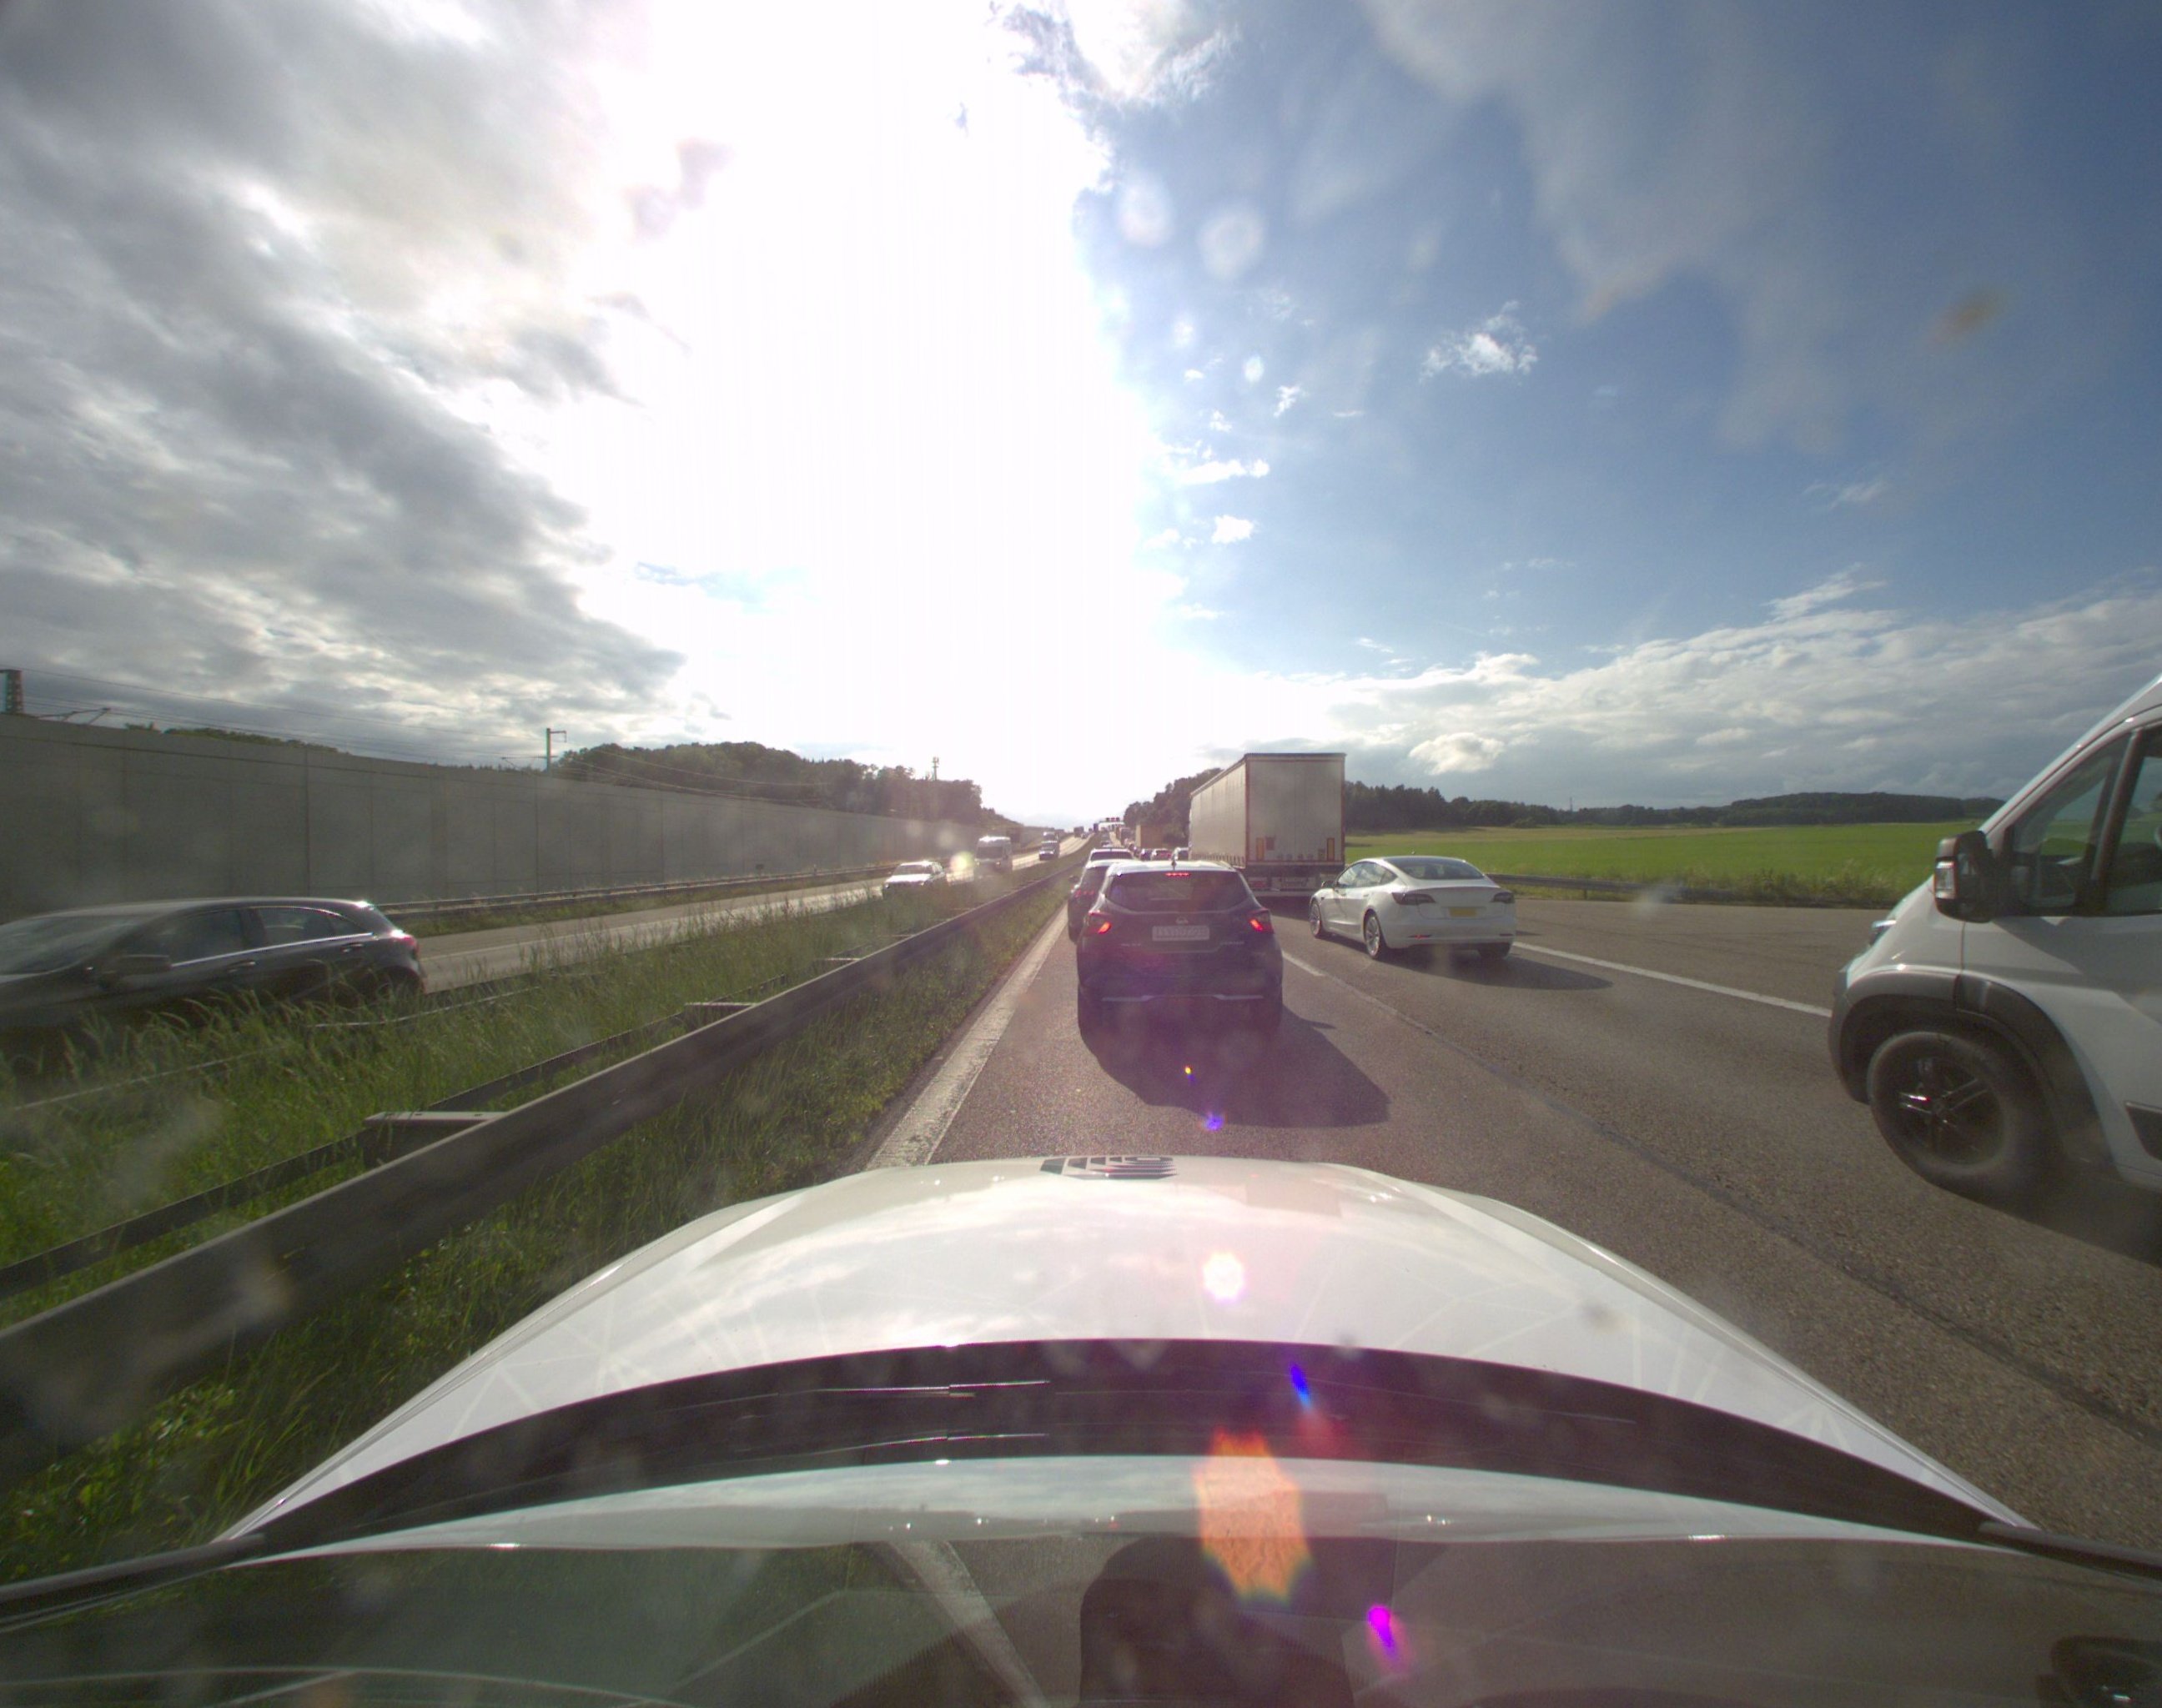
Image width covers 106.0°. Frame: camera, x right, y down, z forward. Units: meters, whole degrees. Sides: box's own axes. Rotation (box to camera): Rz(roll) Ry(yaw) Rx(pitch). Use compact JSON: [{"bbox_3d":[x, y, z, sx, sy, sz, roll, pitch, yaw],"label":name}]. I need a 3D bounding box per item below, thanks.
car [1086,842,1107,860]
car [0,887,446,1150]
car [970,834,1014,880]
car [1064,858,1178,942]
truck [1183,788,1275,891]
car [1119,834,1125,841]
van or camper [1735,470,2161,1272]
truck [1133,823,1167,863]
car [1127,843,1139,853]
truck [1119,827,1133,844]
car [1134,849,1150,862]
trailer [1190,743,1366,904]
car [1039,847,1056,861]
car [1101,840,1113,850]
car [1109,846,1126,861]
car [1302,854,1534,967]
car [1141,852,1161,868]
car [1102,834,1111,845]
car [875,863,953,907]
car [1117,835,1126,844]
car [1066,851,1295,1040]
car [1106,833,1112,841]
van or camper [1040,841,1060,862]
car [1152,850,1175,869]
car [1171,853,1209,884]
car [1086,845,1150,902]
[{"bbox_3d":[1.517,-0.287,76.749,1.866,1.644,4.234,-1,1,2],"label":"car"},{"bbox_3d":[-7.269,1.071,6.210,1.646,1.451,3.957,-1,0,2],"label":"car"},{"bbox_3d":[-5.872,0.215,54.371,2.096,2.870,5.638,-2,0,1],"label":"car"},{"bbox_3d":[0.749,0.778,15.710,1.866,1.358,4.234,-1,0,2],"label":"car"},{"bbox_3d":[6.154,-0.528,34.596,3.121,4.016,5.166,-1,-1,2],"label":"truck"},{"bbox_3d":[12.841,-5.231,255.410,1.866,2.158,5.214,-1,3,2],"label":"car"},{"bbox_3d":[4.680,0.037,1.325,2.207,2.681,6.334,-1,0,1],"label":"van or camper"},{"bbox_3d":[8.406,-1.230,100.748,3.286,4.577,12.440,0,-1,1],"label":"truck"},{"bbox_3d":[9.139,-1.145,143.271,1.868,1.644,4.230,-1,1,-1],"label":"car"},{"bbox_3d":[12.443,-5.119,225.873,3.452,4.576,12.442,0,1,1],"label":"truck"},{"bbox_3d":[8.310,0.155,111.965,1.867,1.644,4.231,-1,0,0],"label":"car"},{"bbox_3d":[5.828,-0.636,27.125,3.118,4.011,13.373,-1,-1,2],"label":"trailer"},{"bbox_3d":[-4.329,0.042,105.842,1.903,1.671,4.363,-1,-1,1],"label":"car"},{"bbox_3d":[4.312,-1.491,135.087,1.867,1.644,4.233,-1,1,1],"label":"car"},{"bbox_3d":[4.220,-0.109,94.560,1.866,1.644,4.235,-1,1,2],"label":"car"},{"bbox_3d":[4.881,0.714,12.554,1.782,1.394,4.437,-1,0,1],"label":"car"},{"bbox_3d":[7.514,0.586,87.344,1.866,1.644,4.234,-1,0,2],"label":"car"},{"bbox_3d":[5.622,-3.184,178.634,1.866,2.158,5.214,-1,3,2],"label":"car"},{"bbox_3d":[-6.194,1.108,30.674,1.866,1.451,4.234,-1,0,2],"label":"car"},{"bbox_3d":[9.963,-3.594,200.290,1.866,2.158,5.214,-1,3,2],"label":"car"},{"bbox_3d":[0.859,0.729,8.545,1.766,1.451,4.234,-1,0,2],"label":"car"},{"bbox_3d":[8.694,-5.313,251.856,1.866,2.158,5.214,-1,3,2],"label":"car"},{"bbox_3d":[-4.238,-0.351,111.623,2.244,2.704,7.172,-1,0,1],"label":"van or camper"},{"bbox_3d":[7.856,0.490,77.809,1.866,1.644,4.234,-1,1,2],"label":"car"},{"bbox_3d":[5.904,0.765,44.528,1.690,1.610,4.440,-1,0,3],"label":"car"},{"bbox_3d":[1.170,0.587,26.240,1.866,1.644,4.234,-1,0,2],"label":"car"}]
